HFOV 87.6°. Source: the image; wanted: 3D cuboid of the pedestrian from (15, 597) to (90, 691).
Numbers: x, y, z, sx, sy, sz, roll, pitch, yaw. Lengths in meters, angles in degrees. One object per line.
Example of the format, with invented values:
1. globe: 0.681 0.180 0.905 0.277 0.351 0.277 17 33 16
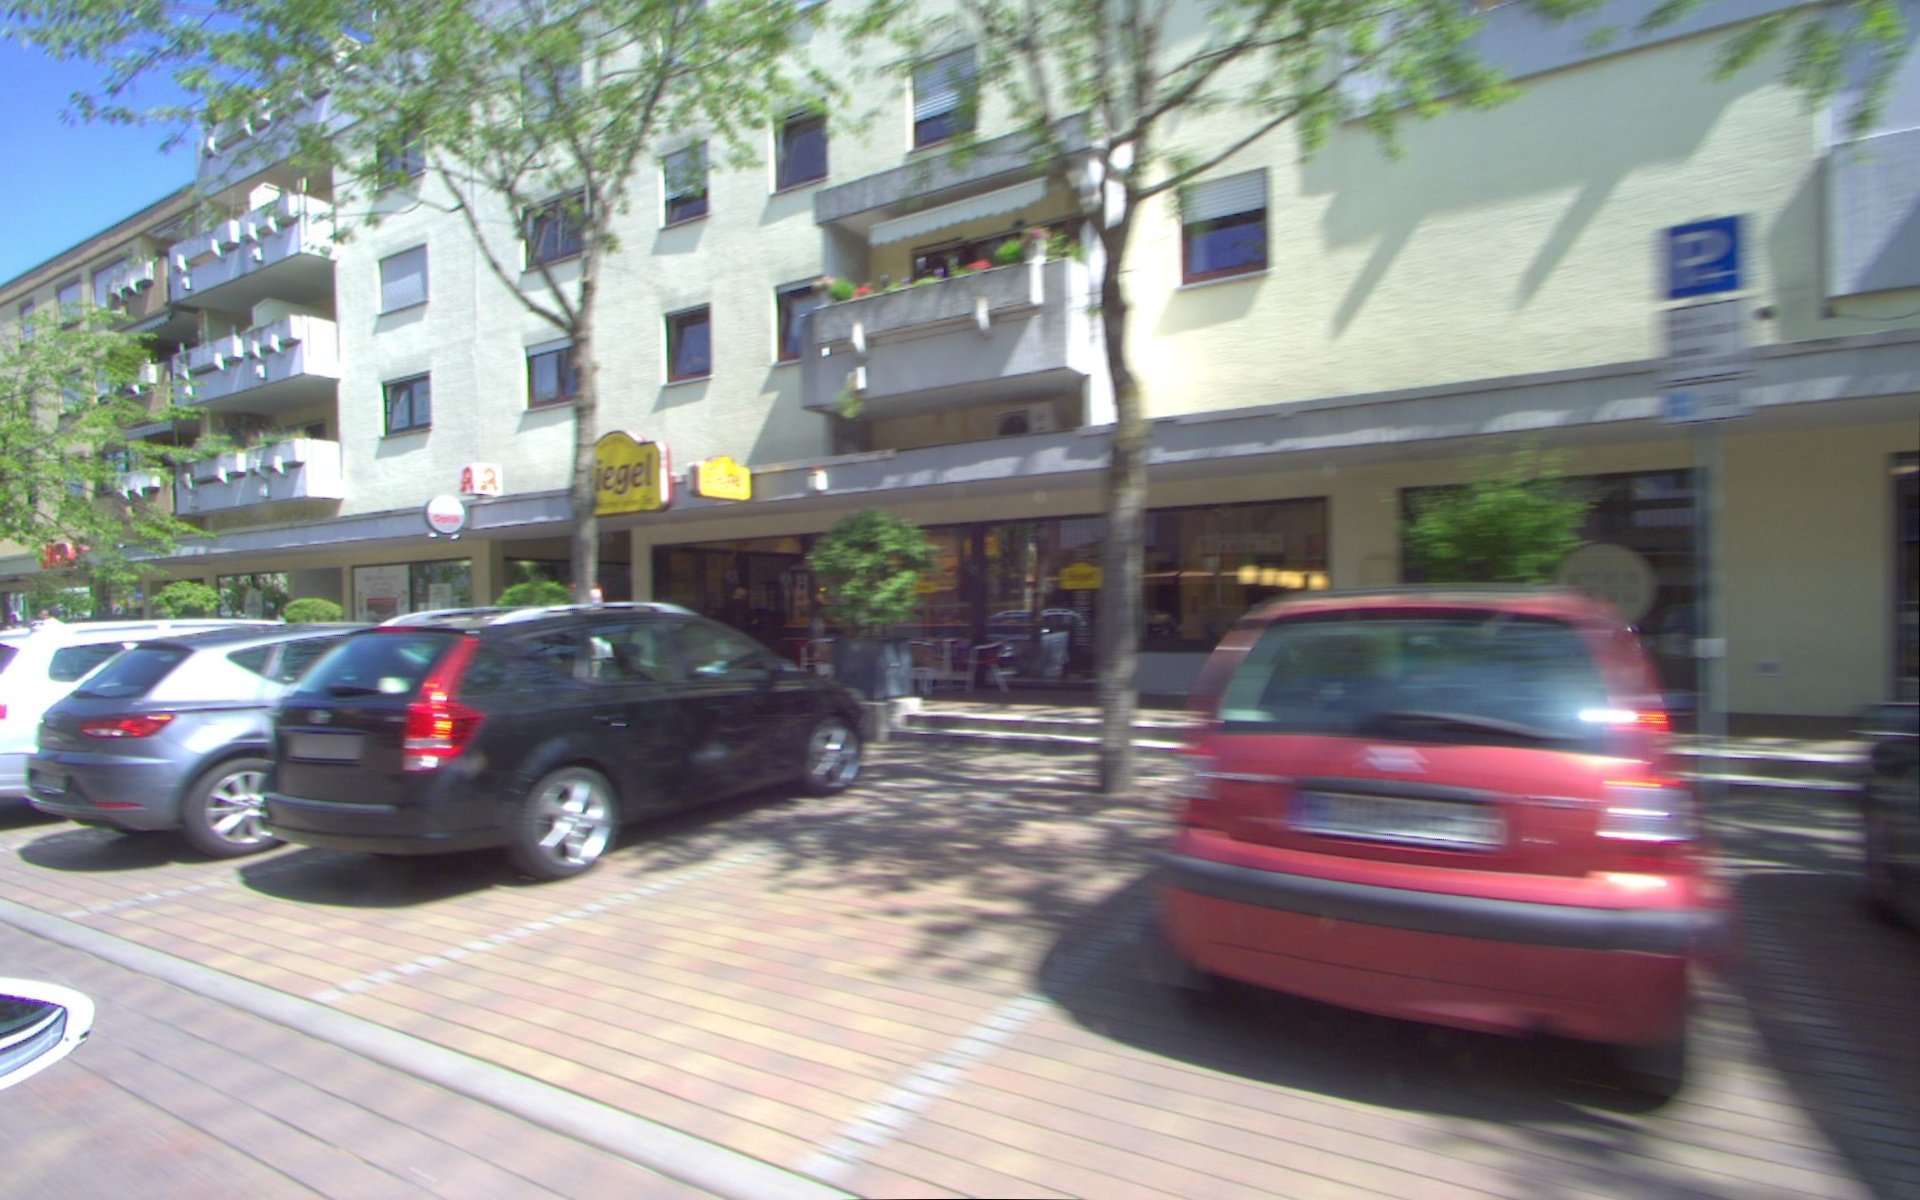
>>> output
1. pedestrian: -17.942 0.853 19.814 0.793 1.811 0.837 0 1 25

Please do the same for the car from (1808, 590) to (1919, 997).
1. car: 4.102 0.729 2.924 1.757 1.451 4.089 0 2 30

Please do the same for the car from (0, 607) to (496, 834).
1. car: -6.687 0.885 9.182 1.733 1.595 4.144 0 0 32

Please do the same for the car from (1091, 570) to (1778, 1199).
1. car: 2.124 0.667 4.417 1.739 1.555 3.716 0 1 31

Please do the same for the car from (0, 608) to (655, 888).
1. car: -4.513 0.853 7.697 1.693 1.509 3.924 -1 0 36

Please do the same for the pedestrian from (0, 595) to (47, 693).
1. pedestrian: -17.868 0.810 18.786 0.793 1.811 0.837 0 1 25

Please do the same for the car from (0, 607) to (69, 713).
1. car: -16.165 0.952 14.781 1.535 1.637 4.238 -1 0 30

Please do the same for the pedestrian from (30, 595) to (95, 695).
1. pedestrian: -16.733 0.810 18.670 0.798 1.811 0.833 1 1 43

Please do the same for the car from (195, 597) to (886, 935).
1. car: -2.430 0.785 6.972 1.915 1.561 4.179 -1 0 27
